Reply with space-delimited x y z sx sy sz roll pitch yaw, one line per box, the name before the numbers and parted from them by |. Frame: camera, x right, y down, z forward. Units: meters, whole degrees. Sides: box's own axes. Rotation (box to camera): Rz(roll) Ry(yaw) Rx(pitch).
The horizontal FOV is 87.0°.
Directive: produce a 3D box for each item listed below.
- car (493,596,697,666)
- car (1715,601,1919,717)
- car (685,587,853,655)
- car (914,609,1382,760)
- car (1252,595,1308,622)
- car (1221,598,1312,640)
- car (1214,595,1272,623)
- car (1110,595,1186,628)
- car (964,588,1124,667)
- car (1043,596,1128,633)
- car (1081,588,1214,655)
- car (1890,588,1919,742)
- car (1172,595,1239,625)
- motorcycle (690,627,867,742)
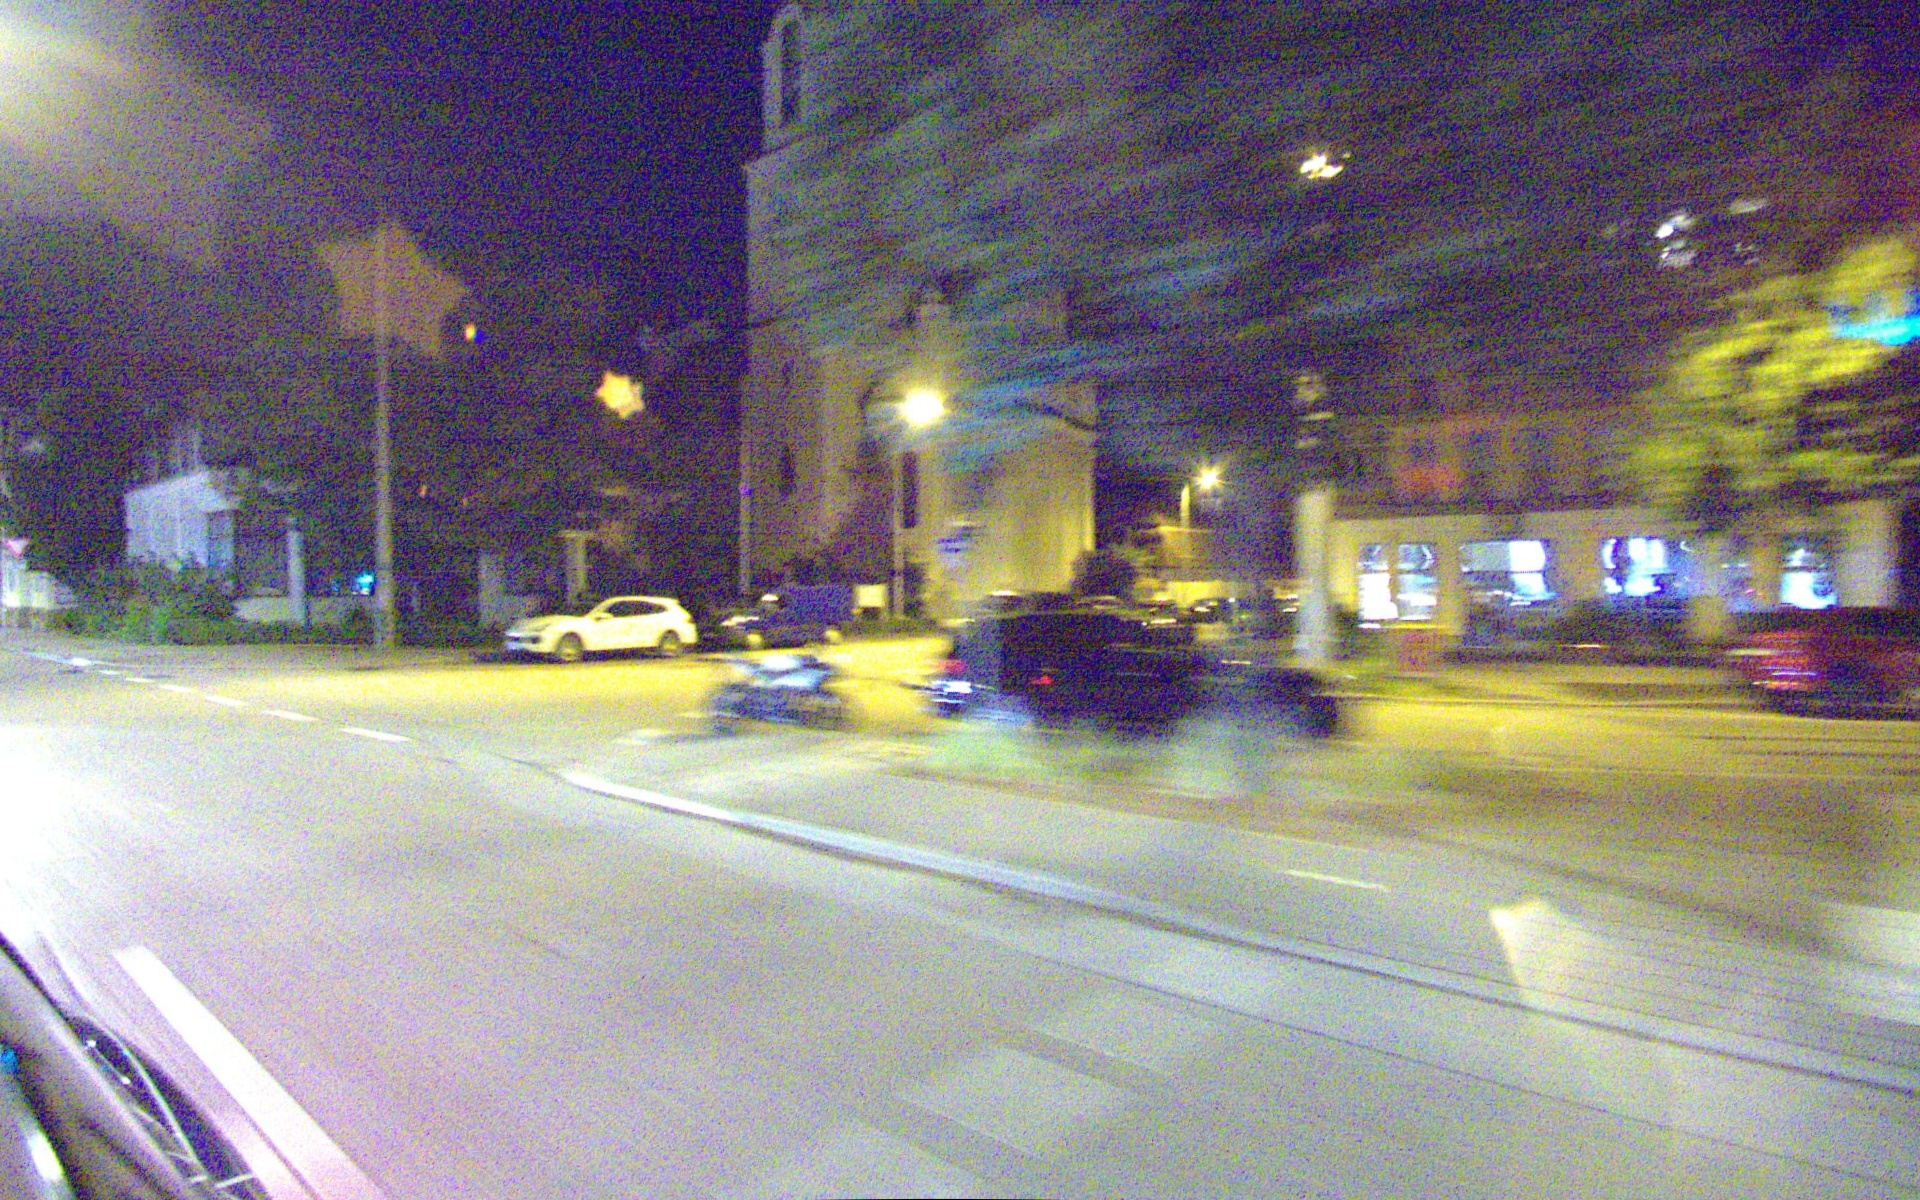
car | -9.337 0.732 26.182 2.001 1.641 4.614 1 0 39
car | 14.186 0.873 15.144 4.216 1.625 1.835 1 -1 13
car | -5.731 0.584 30.967 2.026 1.904 4.939 -1 0 39
car | 1.965 0.837 11.220 4.677 1.435 1.887 0 -1 10
car | 19.154 0.486 60.467 1.861 1.549 3.947 1 0 39
car | 11.585 0.690 38.115 1.921 1.467 4.159 1 0 38
car | 15.850 0.492 56.553 1.798 1.530 3.636 1 0 39
car | 9.076 0.530 48.648 1.828 1.517 3.944 -1 0 42
car | 2.256 0.632 26.453 1.957 1.767 4.292 2 3 42
car | 5.531 0.606 44.430 1.901 1.517 3.947 -1 0 39
car | 5.756 0.570 30.709 1.962 1.767 4.293 5 4 42
car | 12.290 0.741 10.009 4.069 1.656 1.913 0 3 13
car | 12.873 0.492 52.890 1.862 1.481 3.947 1 0 39
motorcycle | -2.072 0.921 11.469 2.020 1.188 0.569 0 0 24
